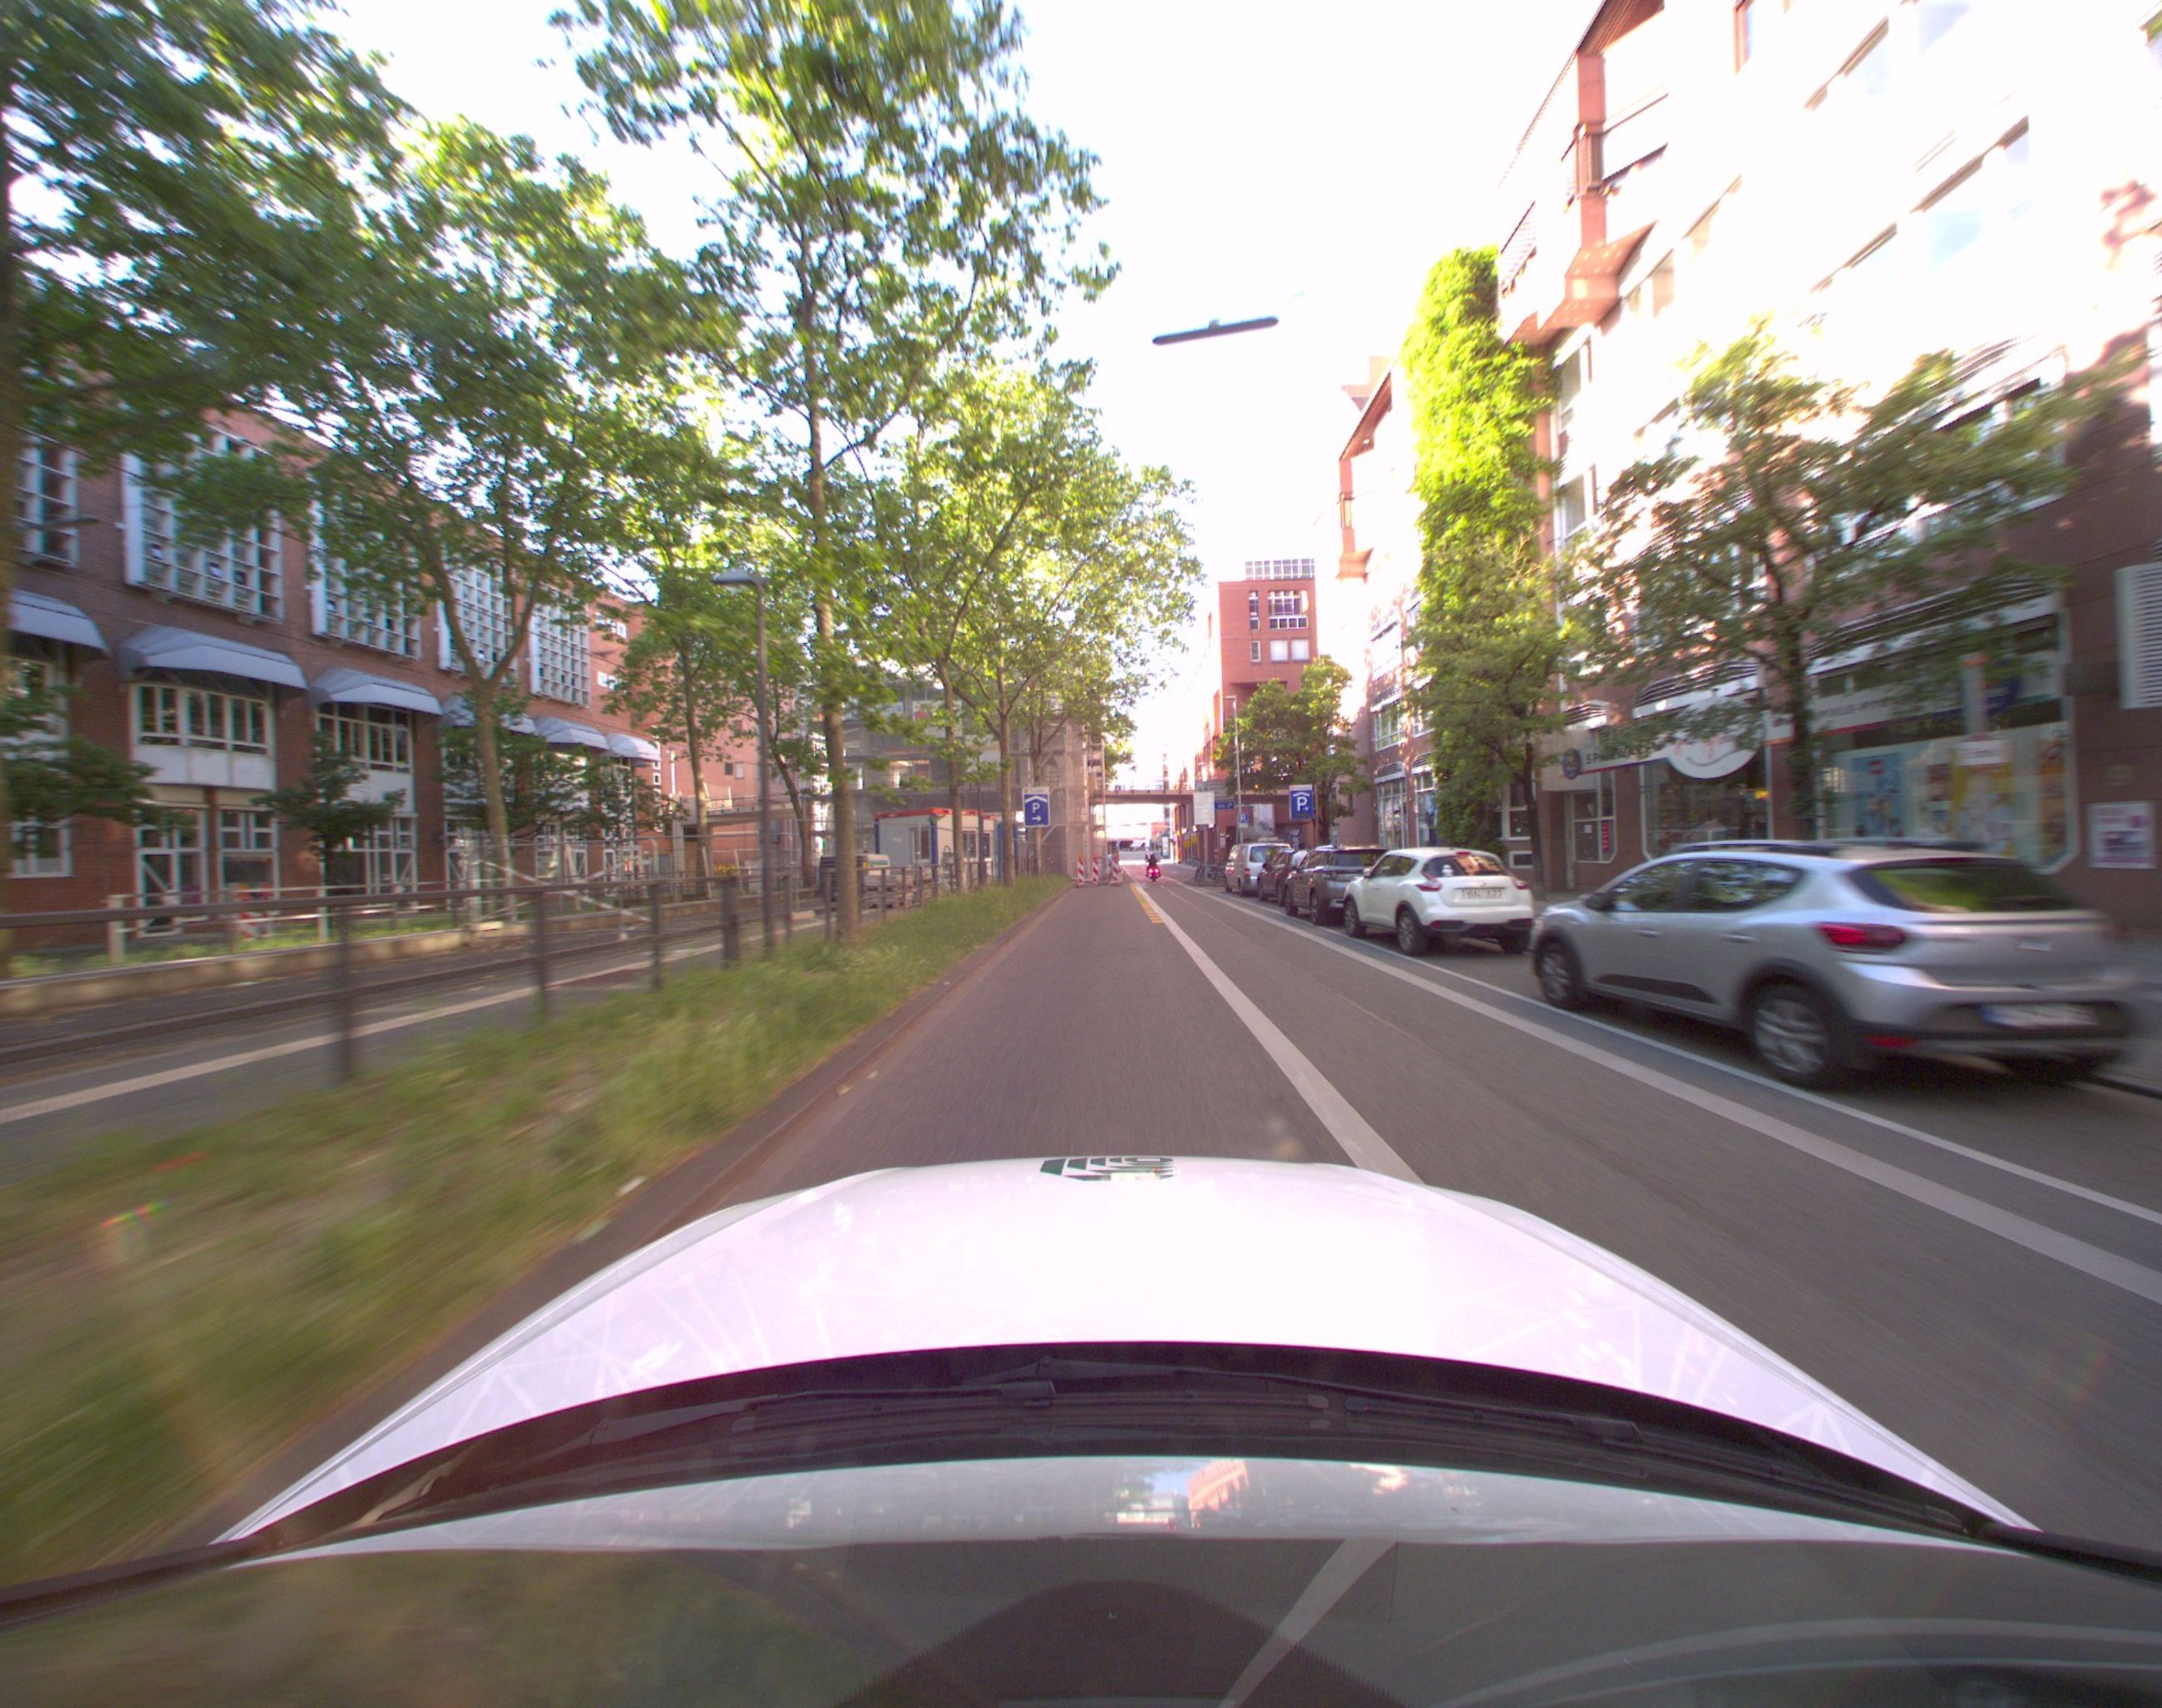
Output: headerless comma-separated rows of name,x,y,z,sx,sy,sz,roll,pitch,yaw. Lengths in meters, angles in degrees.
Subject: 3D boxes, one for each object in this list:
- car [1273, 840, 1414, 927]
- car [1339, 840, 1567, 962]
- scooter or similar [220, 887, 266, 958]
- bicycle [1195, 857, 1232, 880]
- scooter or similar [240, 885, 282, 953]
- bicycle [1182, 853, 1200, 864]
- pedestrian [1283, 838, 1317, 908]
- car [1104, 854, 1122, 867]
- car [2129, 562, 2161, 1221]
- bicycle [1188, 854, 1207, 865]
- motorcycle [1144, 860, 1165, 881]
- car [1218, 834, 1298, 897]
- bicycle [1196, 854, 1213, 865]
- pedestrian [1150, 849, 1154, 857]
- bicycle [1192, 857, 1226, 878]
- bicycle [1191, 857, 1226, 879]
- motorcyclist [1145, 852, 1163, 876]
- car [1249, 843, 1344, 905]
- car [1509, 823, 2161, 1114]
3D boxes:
car,5.696,0.574,18.255,1.781,1.670,4.441,-2,0,1
car,5.613,0.624,12.900,1.822,1.579,4.001,-2,0,1
scooter or similar,-20.888,1.693,20.306,0.529,1.726,0.573,0,-1,-6
bicycle,6.281,0.707,38.630,1.662,1.067,0.514,-1,0,24
scooter or similar,-21.694,1.707,21.545,0.529,1.726,0.573,0,-1,-6
bicycle,12.238,0.461,90.578,1.884,1.119,0.475,-3,0,1
pedestrian,5.831,0.495,21.743,0.658,1.812,0.716,-2,0,0
car,3.766,0.754,95.633,1.917,1.388,4.000,-2,0,0
car,5.148,0.134,0.260,2.107,2.565,5.908,-2,0,2
bicycle,12.368,0.603,86.650,1.884,1.119,0.550,-3,0,1
motorcycle,4.118,0.906,45.921,0.969,1.131,2.806,-1,0,1
car,6.441,0.371,30.184,1.911,2.078,5.171,-2,0,1
bicycle,12.064,0.524,79.552,1.604,0.955,0.555,-4,0,3
pedestrian,12.754,-0.175,146.337,0.544,1.583,0.550,-2,0,-41
bicycle,6.540,0.687,41.629,1.661,1.067,0.504,-1,0,36
bicycle,6.379,0.693,40.868,1.661,1.067,0.504,-1,0,36
motorcyclist,4.102,0.558,45.812,0.967,1.347,1.138,-1,0,1
car,6.375,0.543,24.512,1.781,1.670,4.201,-2,0,1
car,5.399,0.634,6.567,1.822,1.579,4.001,-2,0,1
